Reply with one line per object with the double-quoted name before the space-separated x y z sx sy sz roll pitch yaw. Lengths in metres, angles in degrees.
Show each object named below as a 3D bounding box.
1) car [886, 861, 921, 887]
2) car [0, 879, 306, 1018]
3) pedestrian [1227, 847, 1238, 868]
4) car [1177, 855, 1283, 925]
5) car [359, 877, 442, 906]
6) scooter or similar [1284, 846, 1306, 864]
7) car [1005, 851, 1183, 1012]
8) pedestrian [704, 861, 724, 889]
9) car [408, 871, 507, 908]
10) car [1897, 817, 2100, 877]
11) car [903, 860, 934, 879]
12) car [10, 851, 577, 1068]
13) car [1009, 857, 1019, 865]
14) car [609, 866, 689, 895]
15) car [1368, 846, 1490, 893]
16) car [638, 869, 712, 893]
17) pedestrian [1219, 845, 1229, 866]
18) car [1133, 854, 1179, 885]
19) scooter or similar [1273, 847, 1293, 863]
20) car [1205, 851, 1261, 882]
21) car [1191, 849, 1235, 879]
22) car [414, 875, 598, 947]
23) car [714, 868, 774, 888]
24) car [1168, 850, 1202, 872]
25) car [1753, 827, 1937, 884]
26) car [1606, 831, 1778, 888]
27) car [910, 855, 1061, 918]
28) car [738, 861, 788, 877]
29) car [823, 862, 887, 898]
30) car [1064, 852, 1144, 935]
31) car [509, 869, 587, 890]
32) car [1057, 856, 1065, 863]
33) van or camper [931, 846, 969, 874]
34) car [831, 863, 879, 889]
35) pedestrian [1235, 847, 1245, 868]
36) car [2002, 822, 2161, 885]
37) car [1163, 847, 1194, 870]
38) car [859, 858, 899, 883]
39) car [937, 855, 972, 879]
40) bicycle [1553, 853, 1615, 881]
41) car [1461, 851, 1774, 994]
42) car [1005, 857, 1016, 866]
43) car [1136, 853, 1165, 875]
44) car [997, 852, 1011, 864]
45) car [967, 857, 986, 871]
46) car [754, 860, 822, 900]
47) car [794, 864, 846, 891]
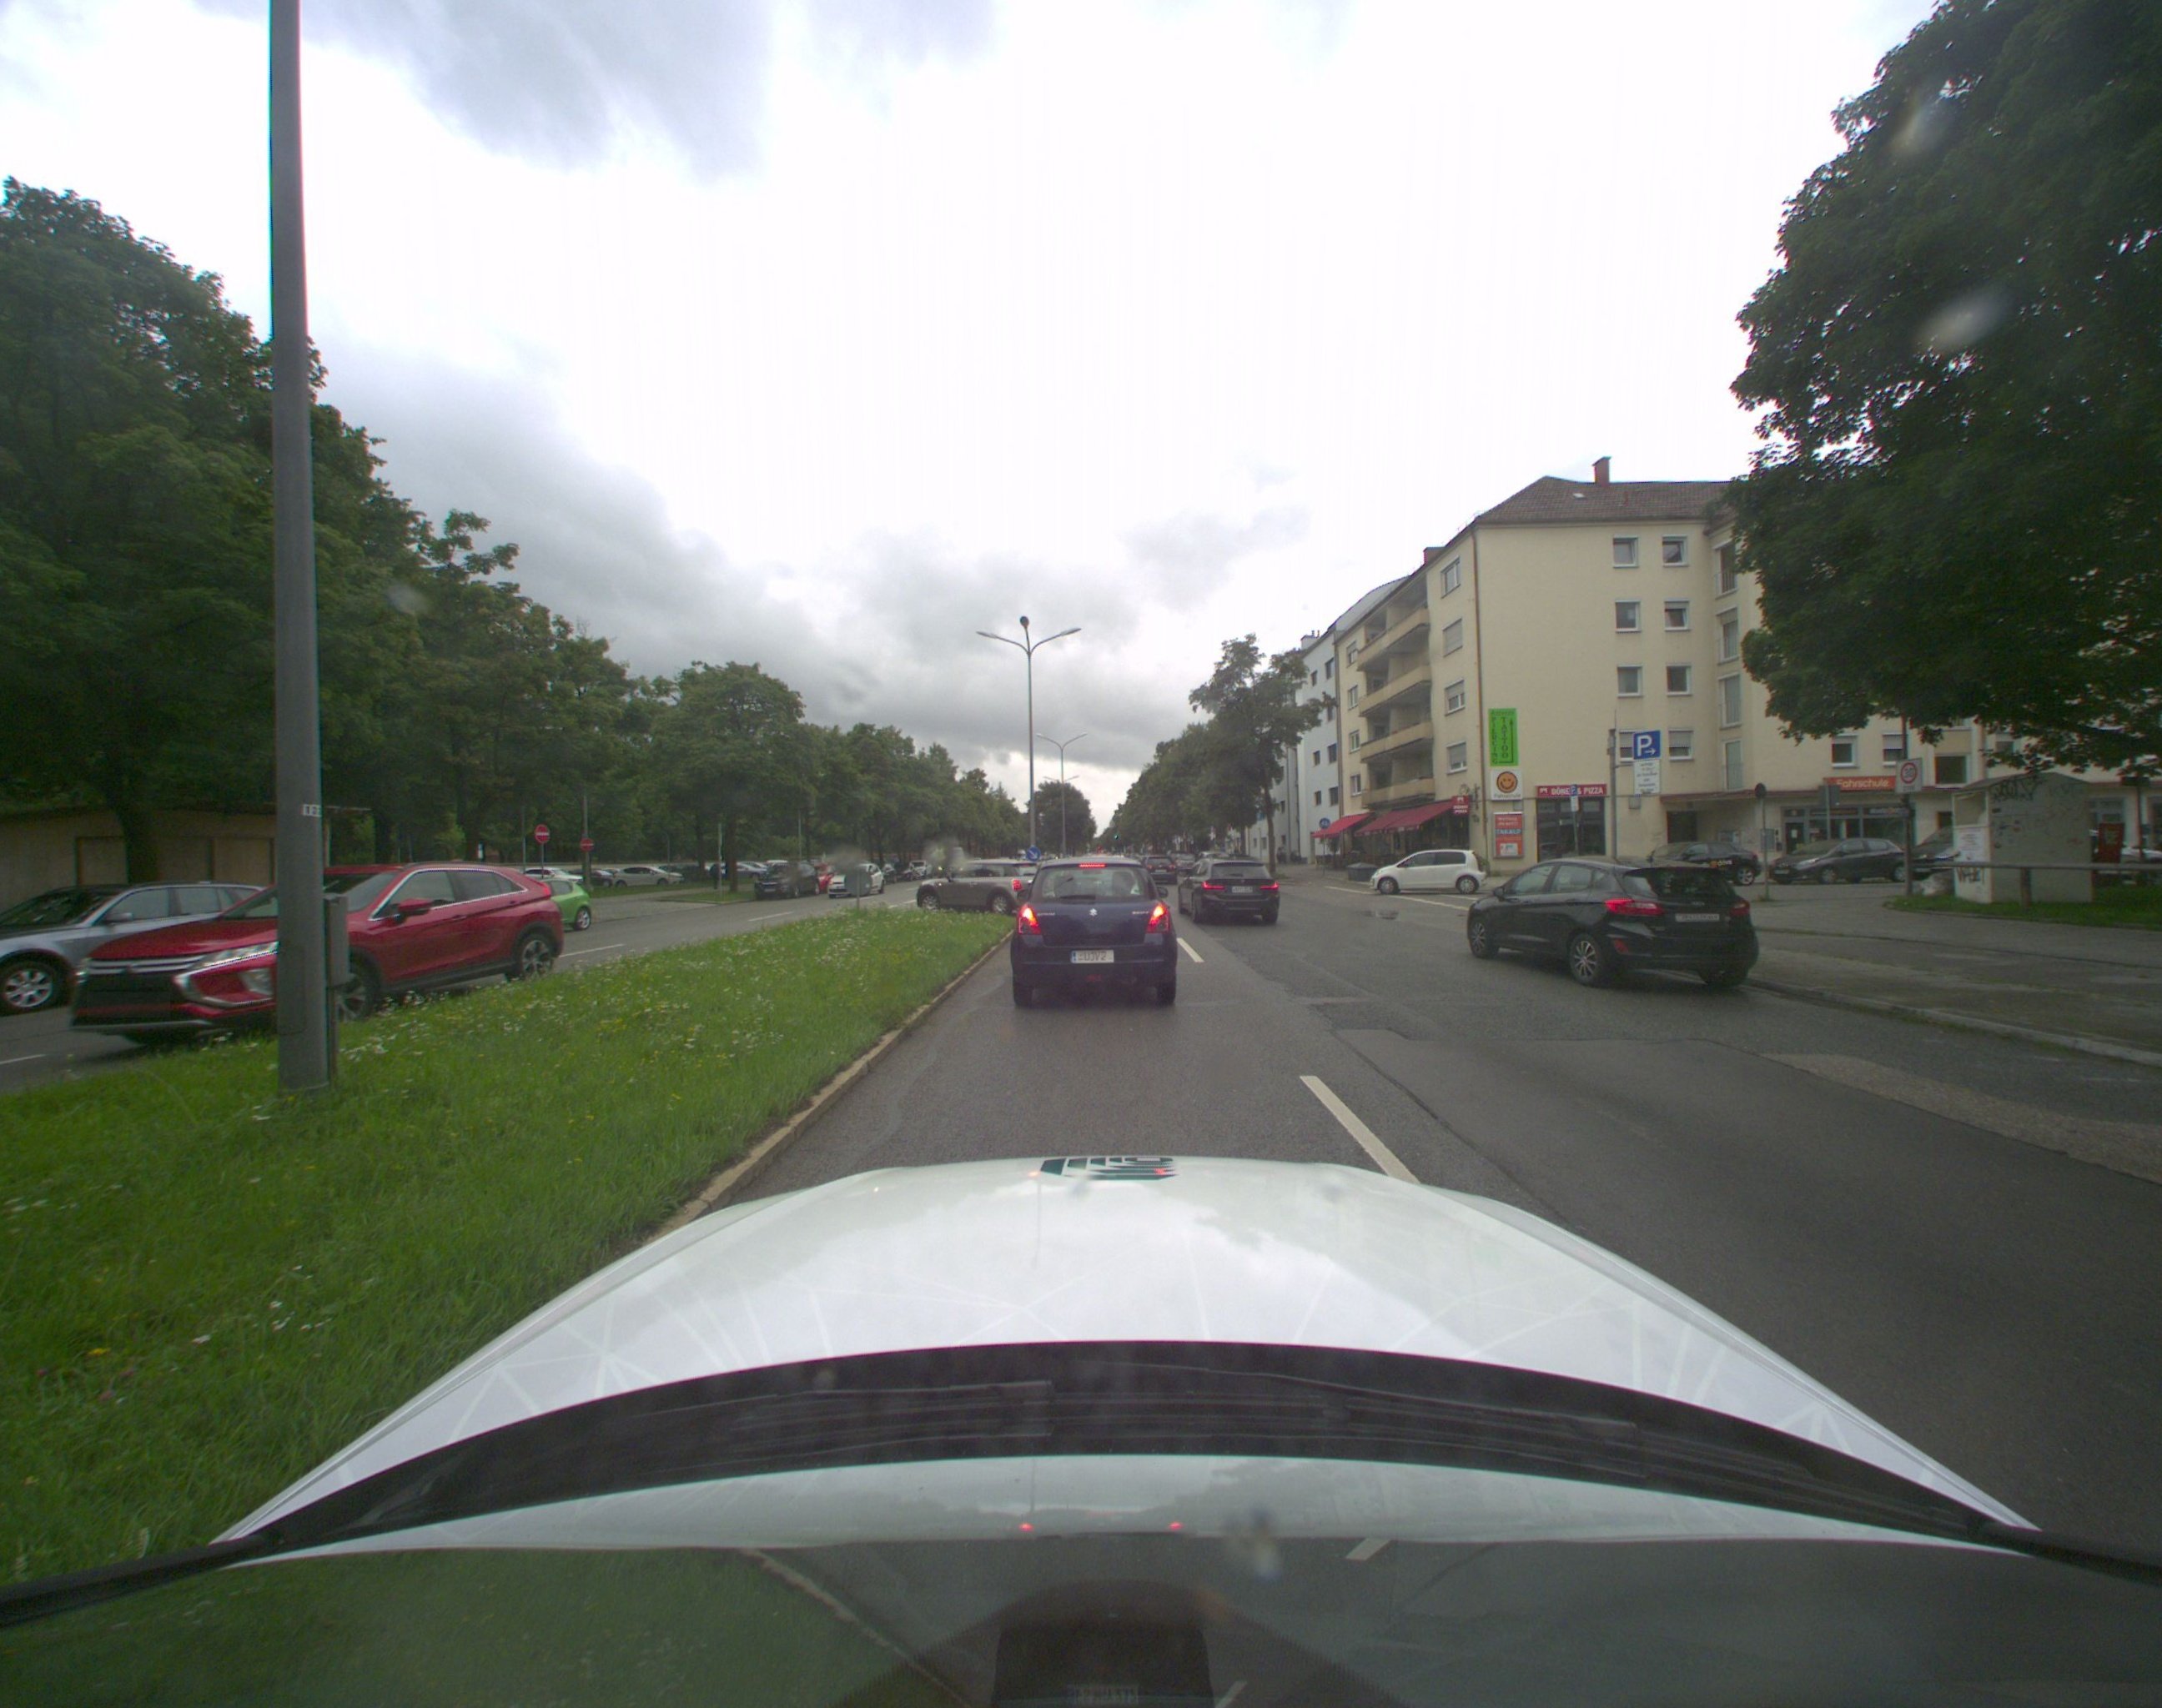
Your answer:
"car" -12.912 1.434 59.451 1.627 1.741 3.879 -1 0 1
"car" -14.229 1.275 11.812 1.685 1.586 4.371 -3 0 1
"pedestrian" 14.565 0.312 78.345 0.791 2.013 1.006 -1 0 2
"car" 3.332 0.735 18.989 1.752 1.413 4.463 0 0 1
"car" -31.199 1.689 37.292 4.363 1.201 1.683 -1 -1 33
"scooter or similar" 16.616 0.059 63.320 1.029 1.307 2.756 -2 0 2
"car" 0.141 0.736 9.747 1.676 1.502 3.919 -1 0 0
"pedestrian" -19.970 1.142 44.334 0.725 1.534 0.721 -1 0 2
"car" -26.450 1.485 34.496 4.363 1.445 1.973 -1 -1 33
"car" 30.599 -0.226 27.259 4.720 1.773 1.871 -2 0 -1
"car" -12.880 1.185 64.790 1.627 1.431 3.879 -1 0 1
"car" -7.898 0.879 8.924 1.897 1.696 4.247 -4 0 2
"car" -12.923 1.296 157.480 1.627 1.583 3.879 -1 0 1
"car" -26.321 1.595 49.722 3.911 1.718 1.670 -1 0 -5
"car" 11.534 0.515 26.987 3.515 1.417 1.883 -2 0 28
"car" -26.126 1.740 52.470 3.859 1.445 1.670 -1 0 -5
"pedestrian" 13.748 0.132 78.396 0.791 2.013 1.006 -1 0 2
"car" 3.673 0.710 40.563 1.726 1.432 4.439 0 0 -2
"scooter or similar" 16.489 0.067 66.424 1.029 1.307 2.756 -2 0 2
"car" 7.541 0.604 40.786 1.861 1.417 4.221 -2 0 -2
"car" 7.391 0.508 45.987 1.786 1.558 4.224 -2 0 1
"car" -14.030 1.335 20.172 1.541 1.409 3.883 -3 0 4
"car" -25.684 1.812 62.177 3.859 1.445 1.670 -1 0 -5
"car" 7.468 0.474 58.832 1.860 1.517 4.223 -2 0 0
"car" 25.125 0.038 26.877 4.381 1.661 1.870 -2 0 -2
"car" 20.139 0.179 26.955 4.383 1.661 1.869 -2 0 -4
"car" -2.501 0.783 21.000 3.685 1.463 1.698 -1 0 36
"car" -29.024 1.359 74.336 3.859 1.445 1.670 -1 0 -5
"car" -9.888 1.094 35.921 1.613 1.375 3.838 -3 0 1
"car" 0.433 0.712 16.448 1.439 1.483 3.106 -1 0 0
"car" -38.231 1.822 58.441 4.489 1.476 1.673 -1 -1 1
"car" -4.395 1.254 179.624 1.627 1.552 3.879 -1 0 1
"van or camper" -12.621 0.567 78.978 2.108 2.482 7.452 -1 0 2
"car" -13.186 1.251 47.726 1.661 1.445 3.879 -1 0 1
"pedestrian" 15.405 0.305 78.857 0.791 2.013 1.006 -1 0 2
"car" 28.862 -0.023 22.697 4.380 1.661 1.871 0 0 -1
"car" 7.612 0.355 63.659 1.860 1.682 4.223 -2 0 0
"car" -13.114 1.060 53.078 1.585 1.558 3.879 -1 0 1
"car" -9.420 0.916 60.834 1.760 1.623 4.507 -3 0 1
"bicycle" 17.796 0.464 28.812 1.841 0.957 0.557 -1 0 0
"car" 6.418 0.715 10.277 1.611 1.465 3.675 0 0 1
"car" -12.742 1.274 147.654 1.627 1.583 3.879 -1 0 1
"car" 4.562 0.660 53.996 1.676 1.383 3.919 0 0 1
"car" -11.063 0.585 117.519 1.627 1.583 3.879 -1 0 1
"car" -12.124 1.191 94.499 1.627 1.583 3.879 -1 0 1
"car" -13.457 1.160 37.623 1.711 1.741 3.879 -1 0 1
"car" -13.599 1.177 42.623 1.585 1.312 3.381 -1 0 1
